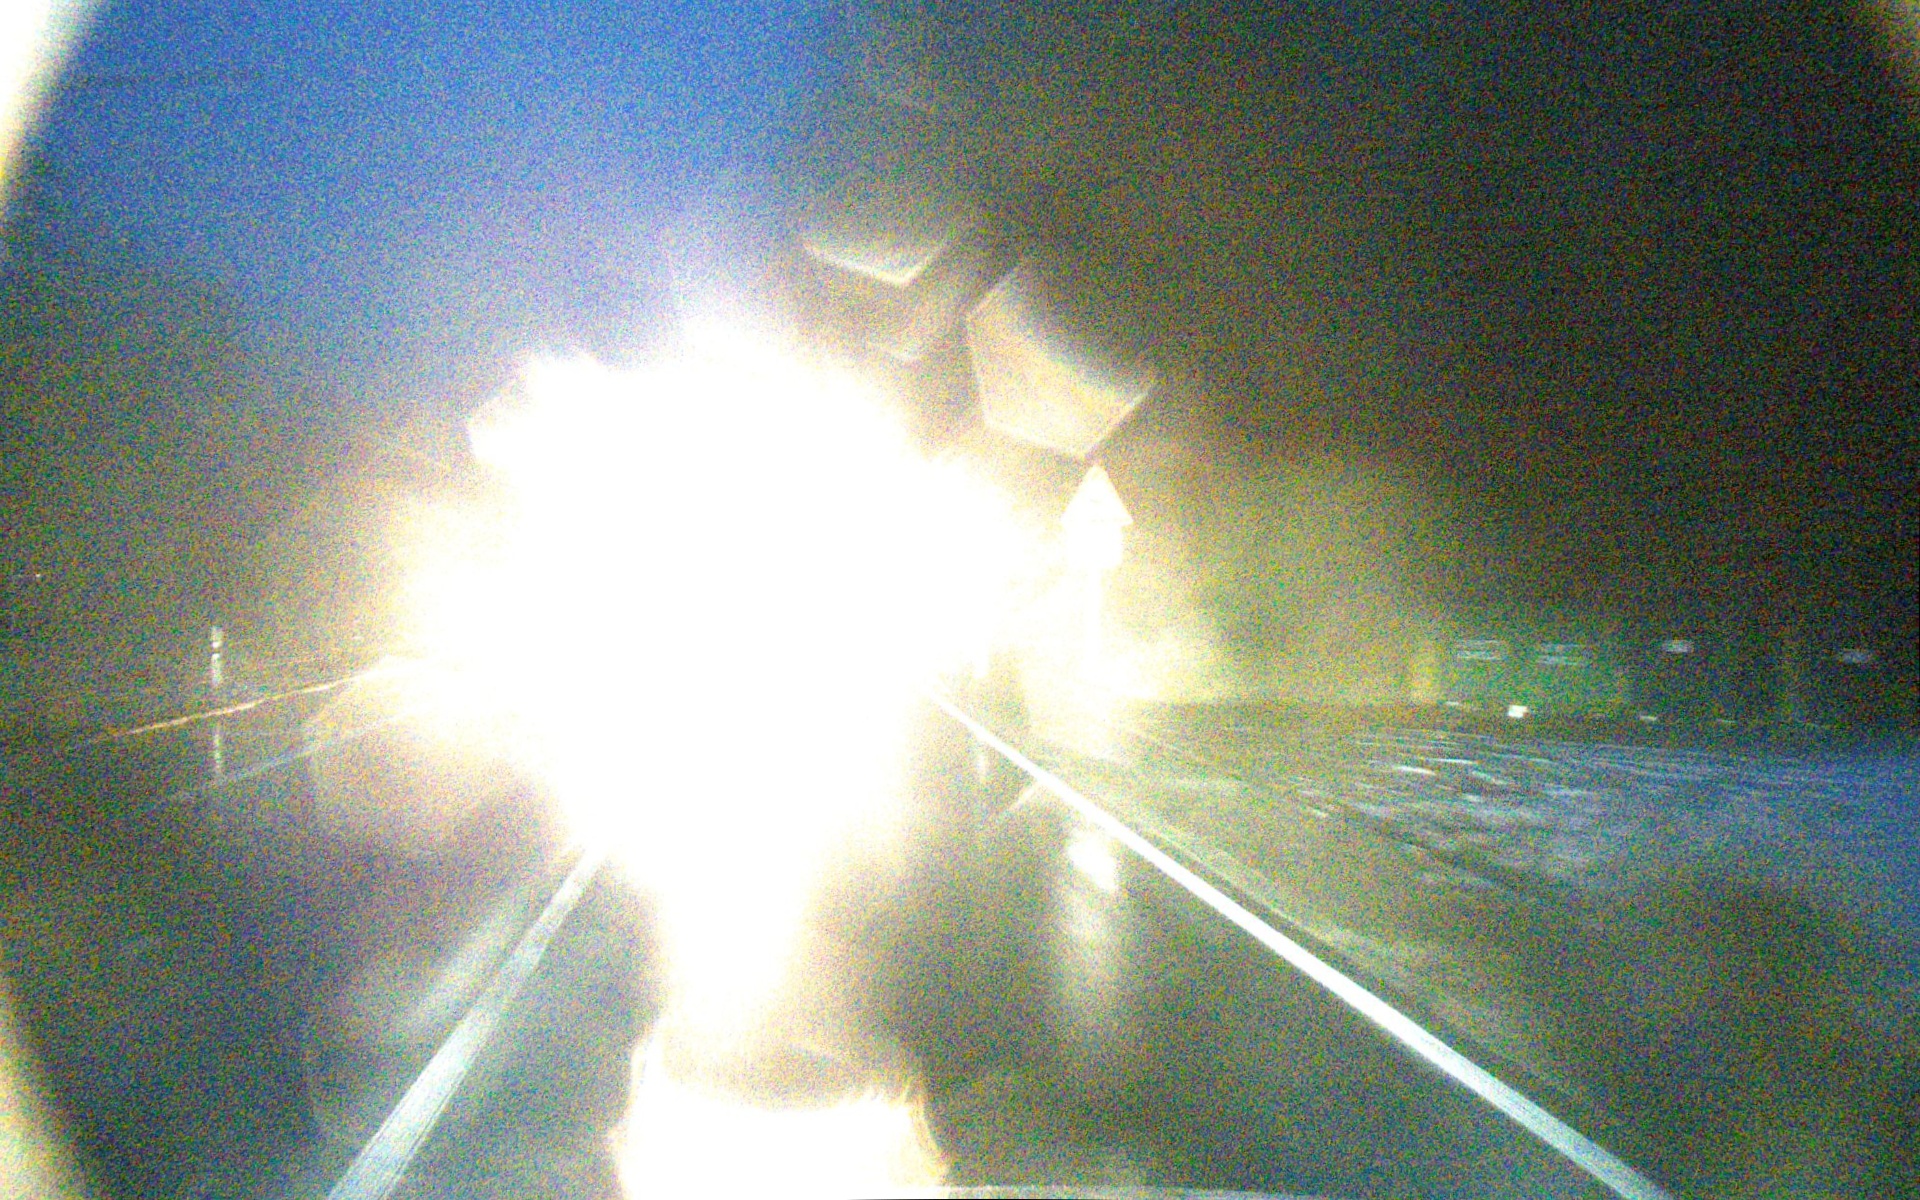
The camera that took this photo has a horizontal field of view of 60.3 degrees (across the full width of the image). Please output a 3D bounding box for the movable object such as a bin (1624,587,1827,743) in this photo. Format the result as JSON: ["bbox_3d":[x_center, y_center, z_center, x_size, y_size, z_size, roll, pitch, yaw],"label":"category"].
[{"bbox_3d":[7.535,0.615,16.304,1.237,1.438,1.374,-1,-1,-35],"label":"movable object such as a bin"}]

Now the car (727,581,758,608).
[{"bbox_3d":[-14.178,-0.399,107.768,1.852,1.613,3.996,-1,2,-6],"label":"car"}]

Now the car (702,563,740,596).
[{"bbox_3d":[-13.234,-1.164,91.662,1.852,1.700,3.996,-1,2,-6],"label":"car"}]

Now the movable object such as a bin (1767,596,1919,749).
[{"bbox_3d":[8.390,0.638,15.212,1.237,1.321,1.302,-1,-1,-35],"label":"movable object such as a bin"}]

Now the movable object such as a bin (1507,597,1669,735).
[{"bbox_3d":[6.600,0.662,17.400,1.143,1.348,1.214,-1,1,-41],"label":"movable object such as a bin"}]

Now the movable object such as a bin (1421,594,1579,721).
[{"bbox_3d":[6.092,0.615,18.676,1.167,1.332,1.302,-2,2,-43],"label":"movable object such as a bin"}]
